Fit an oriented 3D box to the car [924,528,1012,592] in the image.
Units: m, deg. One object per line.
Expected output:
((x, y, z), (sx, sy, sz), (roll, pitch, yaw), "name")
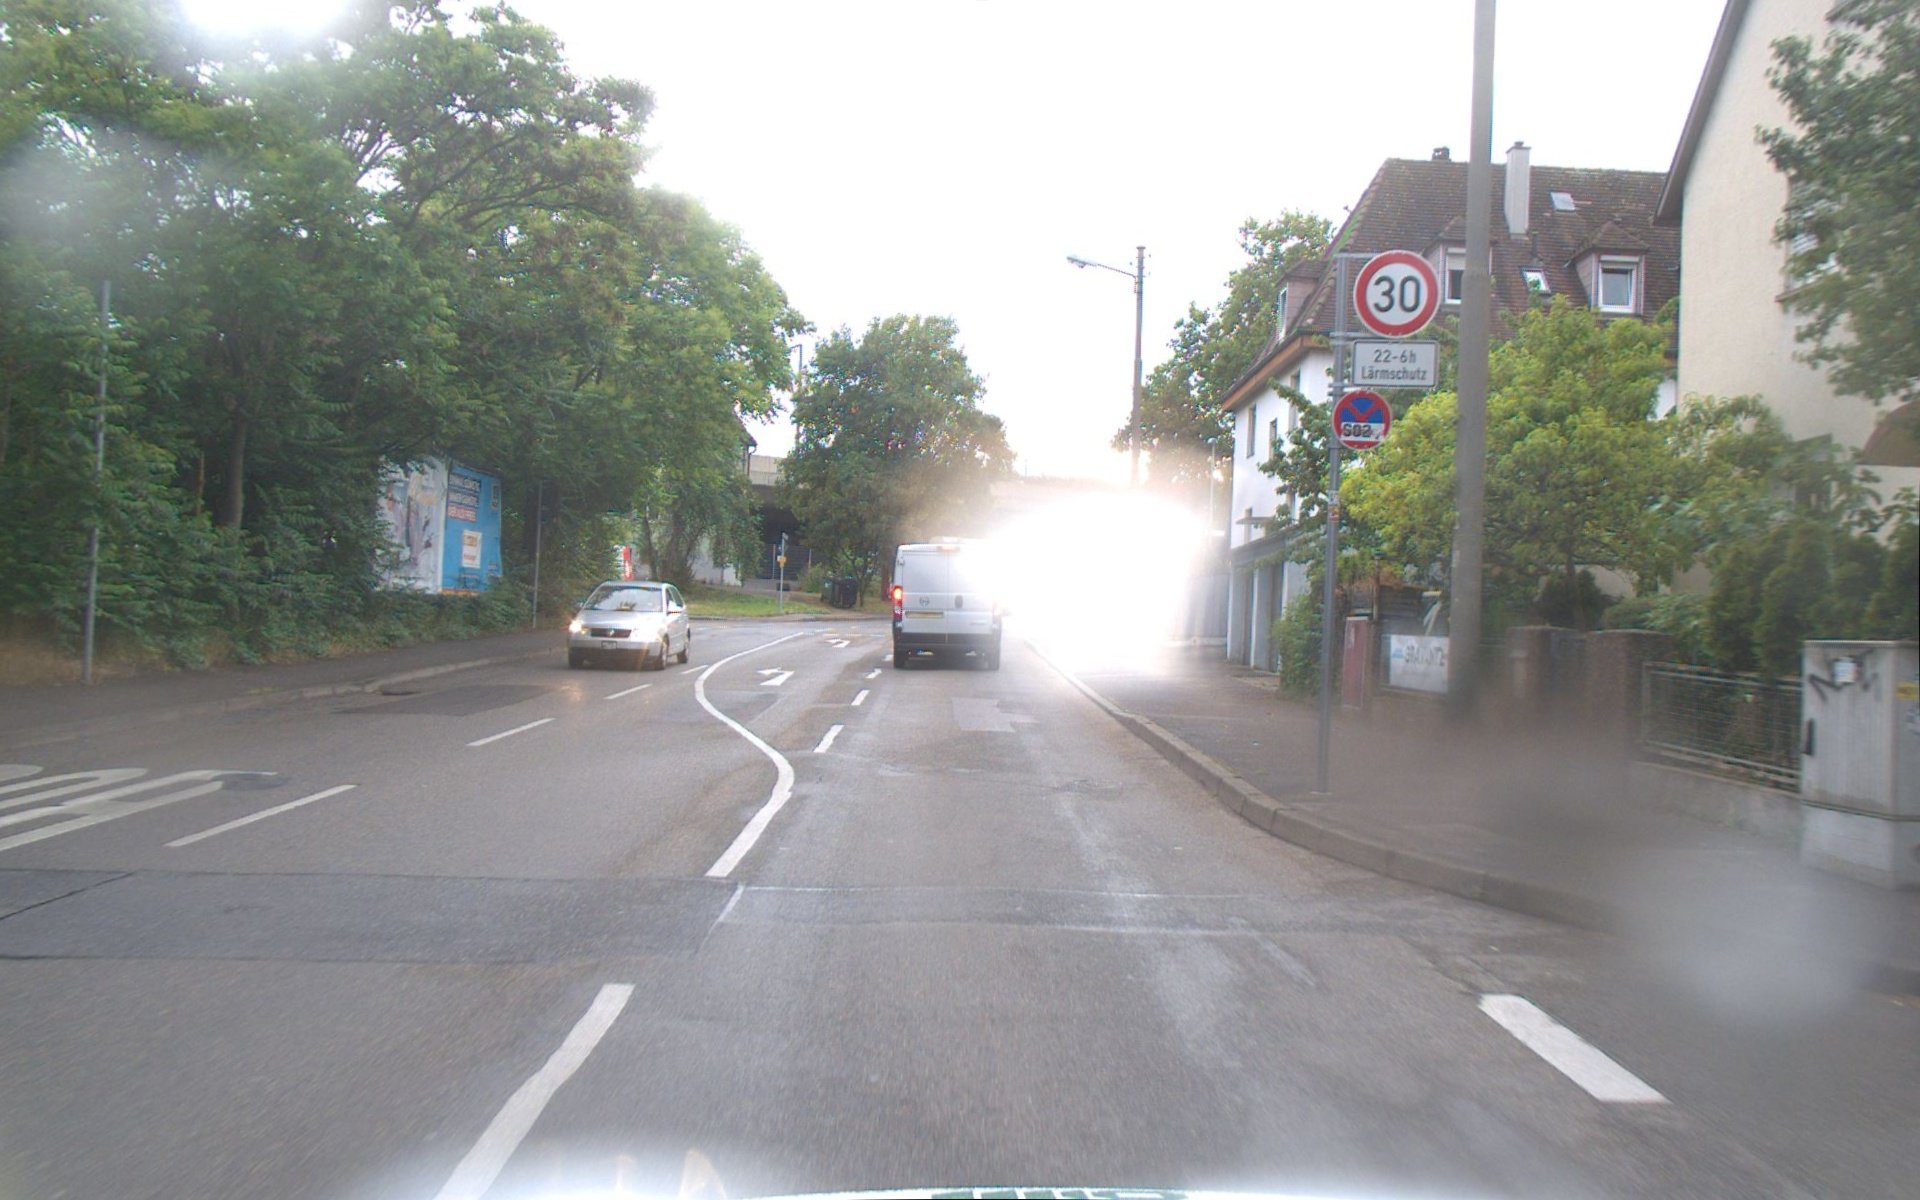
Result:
((0.500, -2.079, 88.734), (2.481, 3.070, 7.213), (3, 1, 18), "car")

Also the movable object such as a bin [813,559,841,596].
((-6.289, -1.059, 78.301), (0.921, 1.590, 1.131), (8, 1, 4), "movable object such as a bin")

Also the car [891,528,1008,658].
((-0.232, -0.157, 32.139), (2.103, 2.323, 5.062), (0, 1, -1), "car")

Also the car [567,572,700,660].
((-5.668, 0.230, 29.100), (1.620, 1.441, 3.935), (0, 1, -1), "car")

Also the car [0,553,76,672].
((-13.327, 0.122, 21.337), (1.668, 1.520, 3.999), (4, 0, -1), "car")

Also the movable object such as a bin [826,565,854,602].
((-5.572, -0.782, 76.864), (0.921, 1.590, 1.131), (8, 1, 4), "movable object such as a bin")

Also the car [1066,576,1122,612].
((6.307, -0.263, 77.628), (1.729, 1.537, 3.756), (3, 1, 18), "car")

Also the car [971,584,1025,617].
((1.918, 0.068, 81.710), (1.951, 1.482, 4.833), (2, -1, 9), "car")

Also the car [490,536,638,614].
((-14.760, -0.946, 61.820), (4.944, 2.674, 2.153), (2, 0, -2), "car")
